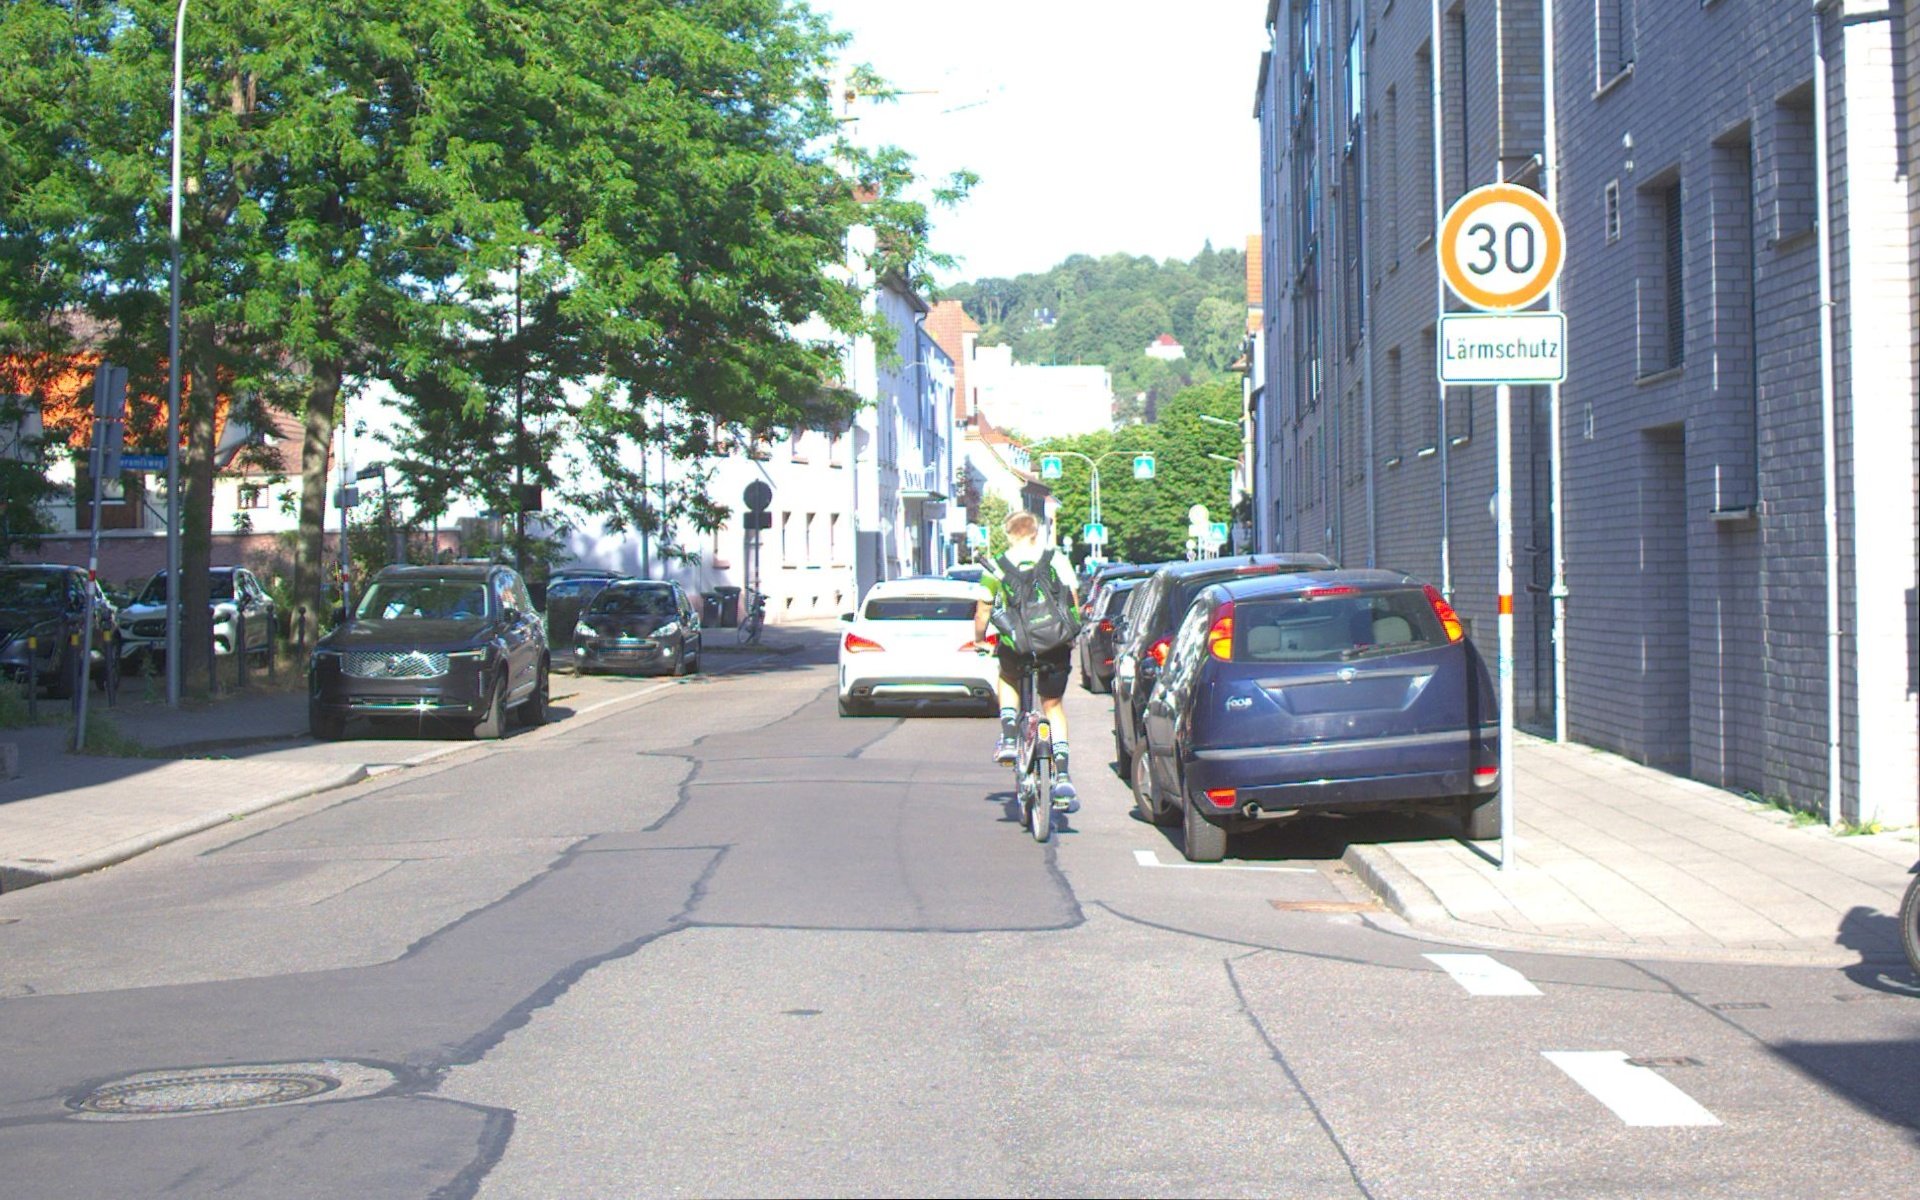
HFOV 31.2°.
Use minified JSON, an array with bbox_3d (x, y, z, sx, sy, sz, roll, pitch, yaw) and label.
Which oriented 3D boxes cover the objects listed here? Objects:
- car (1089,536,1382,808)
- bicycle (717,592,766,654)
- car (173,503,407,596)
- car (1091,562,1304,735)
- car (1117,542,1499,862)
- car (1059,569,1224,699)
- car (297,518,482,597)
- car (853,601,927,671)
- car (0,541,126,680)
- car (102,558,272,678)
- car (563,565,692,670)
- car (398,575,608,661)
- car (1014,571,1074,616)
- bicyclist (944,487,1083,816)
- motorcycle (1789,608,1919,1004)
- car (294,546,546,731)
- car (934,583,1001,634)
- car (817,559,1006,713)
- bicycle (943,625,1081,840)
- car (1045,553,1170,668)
[{"bbox_3d":[1.853,0.470,24.142,1.664,1.696,3.914,2,0,0],"label":"car"},{"bbox_3d":[-4.438,0.460,69.965,0.835,1.213,2.842,2,0,-1],"label":"bicycle"},{"bbox_3d":[-12.421,-0.937,63.870,3.901,1.570,1.709,2,0,5],"label":"car"},{"bbox_3d":[2.332,0.478,34.833,1.858,1.582,4.621,2,0,1],"label":"car"},{"bbox_3d":[1.853,0.540,19.423,1.629,1.582,4.069,-1,-1,-1],"label":"car"},{"bbox_3d":[2.336,0.453,45.231,1.857,1.582,4.621,-1,-1,0],"label":"car"},{"bbox_3d":[-12.514,-0.918,75.588,3.900,1.570,1.710,2,0,-7],"label":"car"},{"bbox_3d":[-1.661,0.850,82.068,1.664,1.570,3.914,2,0,-1],"label":"car"},{"bbox_3d":[-11.688,0.082,42.377,1.857,1.581,4.622,4,0,-4],"label":"car"},{"bbox_3d":[-11.989,0.271,53.537,1.790,1.684,3.965,4,0,-2],"label":"car"},{"bbox_3d":[-5.280,0.270,55.046,1.704,1.570,3.914,2,0,-1],"label":"car"},{"bbox_3d":[-9.162,0.362,69.096,3.901,1.570,1.709,2,0,2],"label":"car"},{"bbox_3d":[3.141,-0.237,127.668,1.945,1.582,4.620,-1,-1,5],"label":"car"},{"bbox_3d":[0.298,0.290,19.445,0.698,1.784,1.040,2,-1,0],"label":"bicyclist"},{"bbox_3d":[3.962,0.671,11.123,2.338,1.276,0.894,-1,-2,29],"label":"motorcycle"},{"bbox_3d":[-5.661,0.387,36.572,1.853,1.785,4.607,2,0,1],"label":"car"},{"bbox_3d":[0.259,0.297,111.092,1.945,1.582,4.621,-1,-1,3],"label":"car"},{"bbox_3d":[-0.547,0.389,36.587,1.842,1.486,4.144,2,-1,-2],"label":"car"},{"bbox_3d":[0.284,0.725,19.579,0.698,1.126,2.402,2,-1,0],"label":"bicycle"},{"bbox_3d":[2.293,0.176,54.267,1.858,1.696,4.621,-1,-1,2],"label":"car"}]
